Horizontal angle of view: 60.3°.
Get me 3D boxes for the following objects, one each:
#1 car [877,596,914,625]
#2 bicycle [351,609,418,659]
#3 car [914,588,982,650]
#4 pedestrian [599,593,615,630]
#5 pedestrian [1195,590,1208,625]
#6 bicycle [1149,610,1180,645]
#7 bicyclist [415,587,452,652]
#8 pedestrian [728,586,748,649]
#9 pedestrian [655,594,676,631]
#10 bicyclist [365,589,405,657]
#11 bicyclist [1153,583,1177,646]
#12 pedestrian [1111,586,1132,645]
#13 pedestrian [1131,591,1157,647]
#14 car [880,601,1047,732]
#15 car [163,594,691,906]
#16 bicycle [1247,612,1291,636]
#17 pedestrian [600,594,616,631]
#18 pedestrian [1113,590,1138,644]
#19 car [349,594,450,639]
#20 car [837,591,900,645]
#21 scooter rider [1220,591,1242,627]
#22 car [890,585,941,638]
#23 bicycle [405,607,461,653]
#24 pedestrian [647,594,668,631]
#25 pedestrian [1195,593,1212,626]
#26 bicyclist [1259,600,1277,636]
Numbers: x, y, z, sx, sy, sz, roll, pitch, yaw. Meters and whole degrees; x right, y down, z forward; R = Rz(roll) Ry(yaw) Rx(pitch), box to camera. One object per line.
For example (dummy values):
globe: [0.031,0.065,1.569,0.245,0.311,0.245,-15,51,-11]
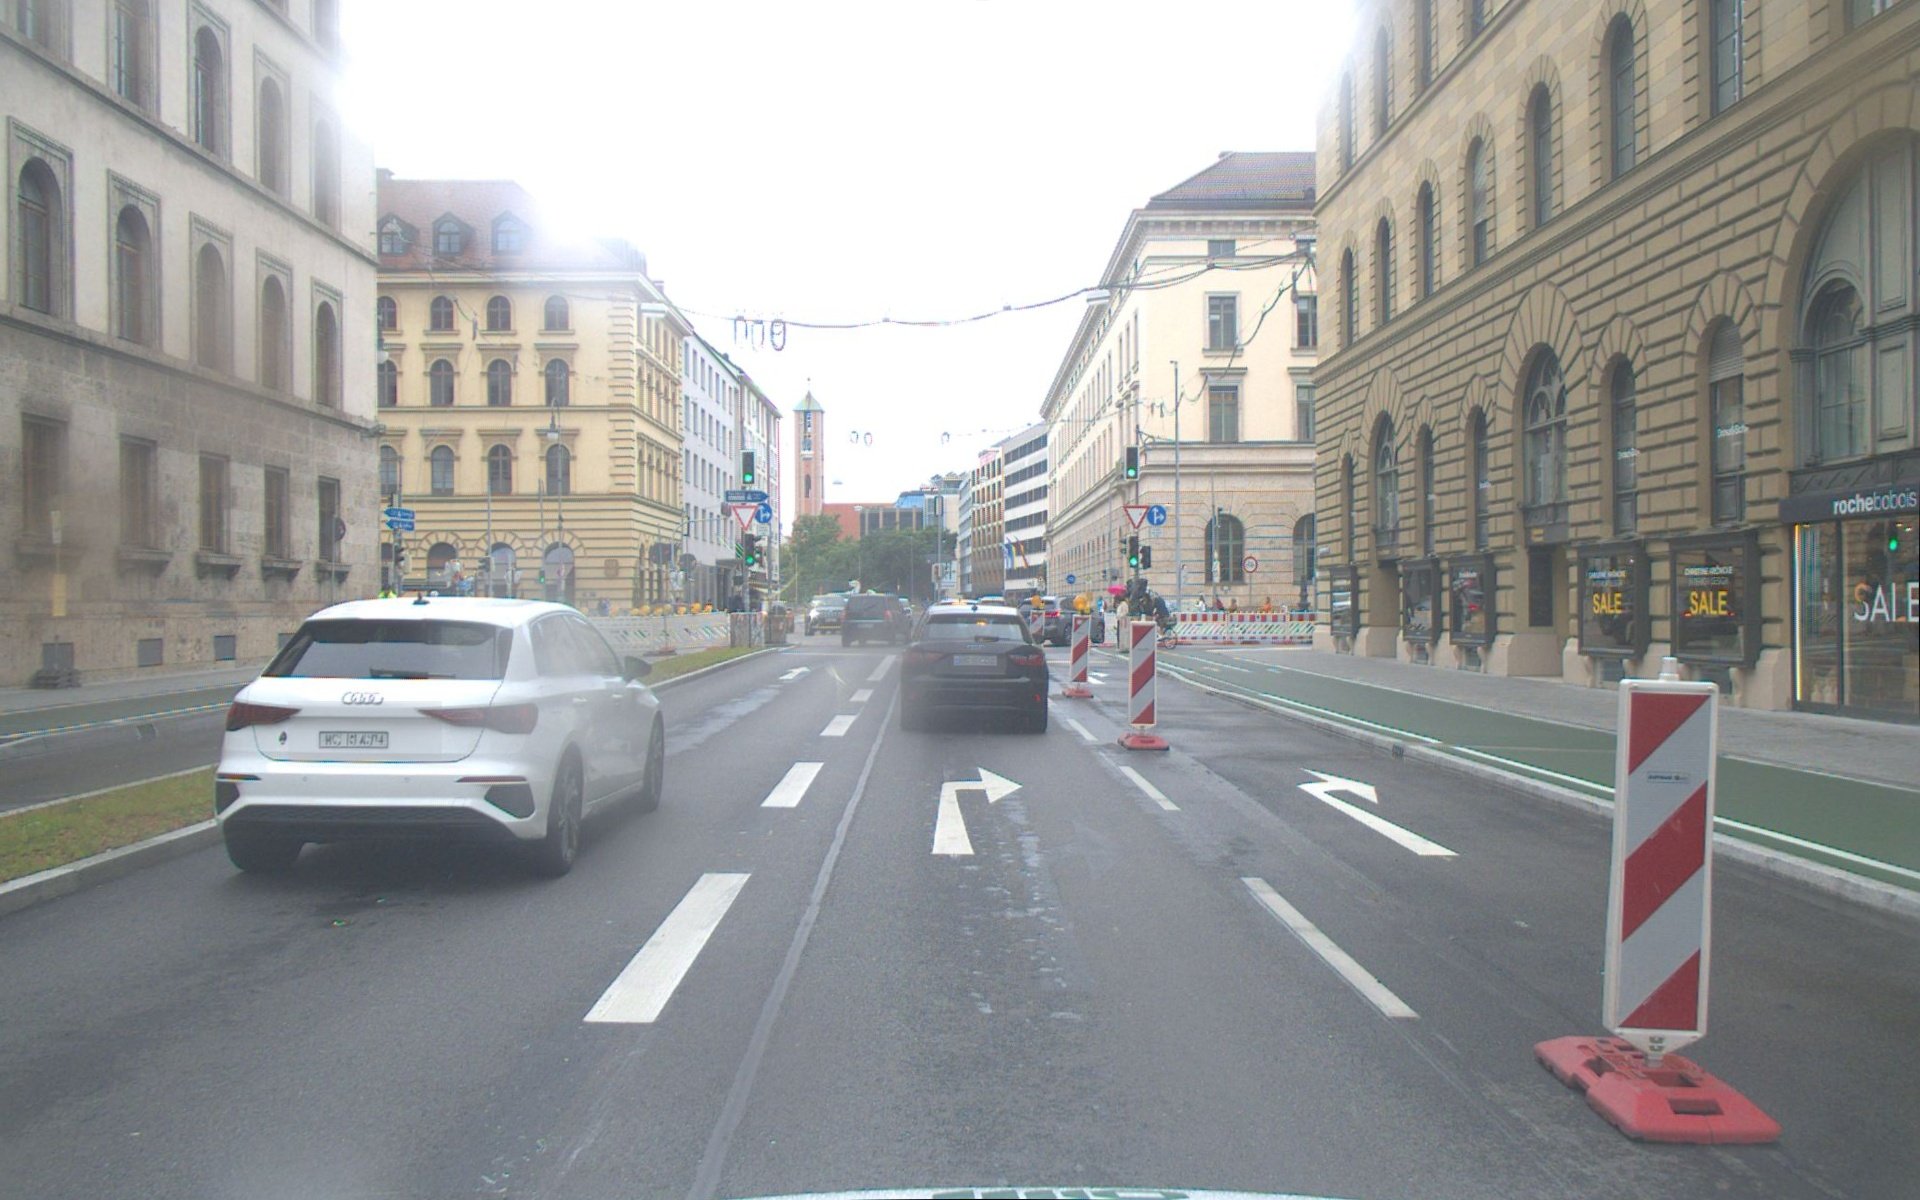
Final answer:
car: [-3.586,0.583,92.291,1.953,1.550,4.232,-1,0,-1]
bicycle: [-15.319,0.881,44.082,0.770,1.264,2.450,1,0,4]
car: [-0.289,0.506,46.127,1.732,1.645,4.001,1,0,2]
pedestrian: [-17.256,0.564,80.834,0.720,1.803,0.737,1,0,-11]
pedestrian: [11.931,0.386,81.560,0.603,1.701,0.542,1,0,7]
bicycle: [6.243,0.839,50.505,0.573,1.029,1.654,1,0,-6]
bicyclist: [-14.959,0.548,46.974,0.781,1.807,0.689,1,0,3]
pedestrian: [-6.325,0.499,47.027,0.503,1.773,1.041,0,0,-10]
pedestrian: [-14.705,0.628,82.554,0.718,1.803,0.739,1,0,20]
bicyclist: [-15.314,0.611,44.061,0.781,1.779,0.689,1,0,3]
bicyclist: [6.257,0.433,50.430,0.555,1.886,0.798,1,0,-6]
pedestrian: [4.595,0.440,47.137,0.520,1.648,0.674,1,0,1]
pedestrian: [5.361,0.545,48.234,0.688,1.594,0.682,1,0,1]
car: [0.010,0.728,20.103,1.825,1.412,3.999,0,0,-1]
car: [-2.879,0.705,10.047,1.776,1.449,4.451,1,0,-1]
bicycle: [14.421,1.119,77.167,1.917,1.058,0.795,1,0,2]
pedestrian: [-17.373,0.599,81.567,0.720,1.803,0.737,1,0,-11]
pedestrian: [4.923,0.501,49.106,0.688,1.594,0.541,1,0,1]
car: [-23.774,0.698,70.249,3.666,1.830,1.866,-1,0,-4]
car: [-2.825,0.534,51.943,1.827,1.629,3.850,-1,0,-1]
scooter rider: [12.440,0.424,76.042,0.913,1.651,0.592,1,0,1]
car: [-1.760,0.447,66.321,1.953,2.049,3.999,0,0,-1]
bicycle: [-14.969,0.830,47.042,0.770,1.264,2.200,1,0,4]
pedestrian: [-14.980,0.627,81.829,0.718,1.803,0.761,1,0,20]
pedestrian: [11.872,0.456,80.779,0.800,1.584,0.667,1,0,7]
bicyclist: [14.376,0.822,77.168,0.728,1.643,0.795,1,0,2]
